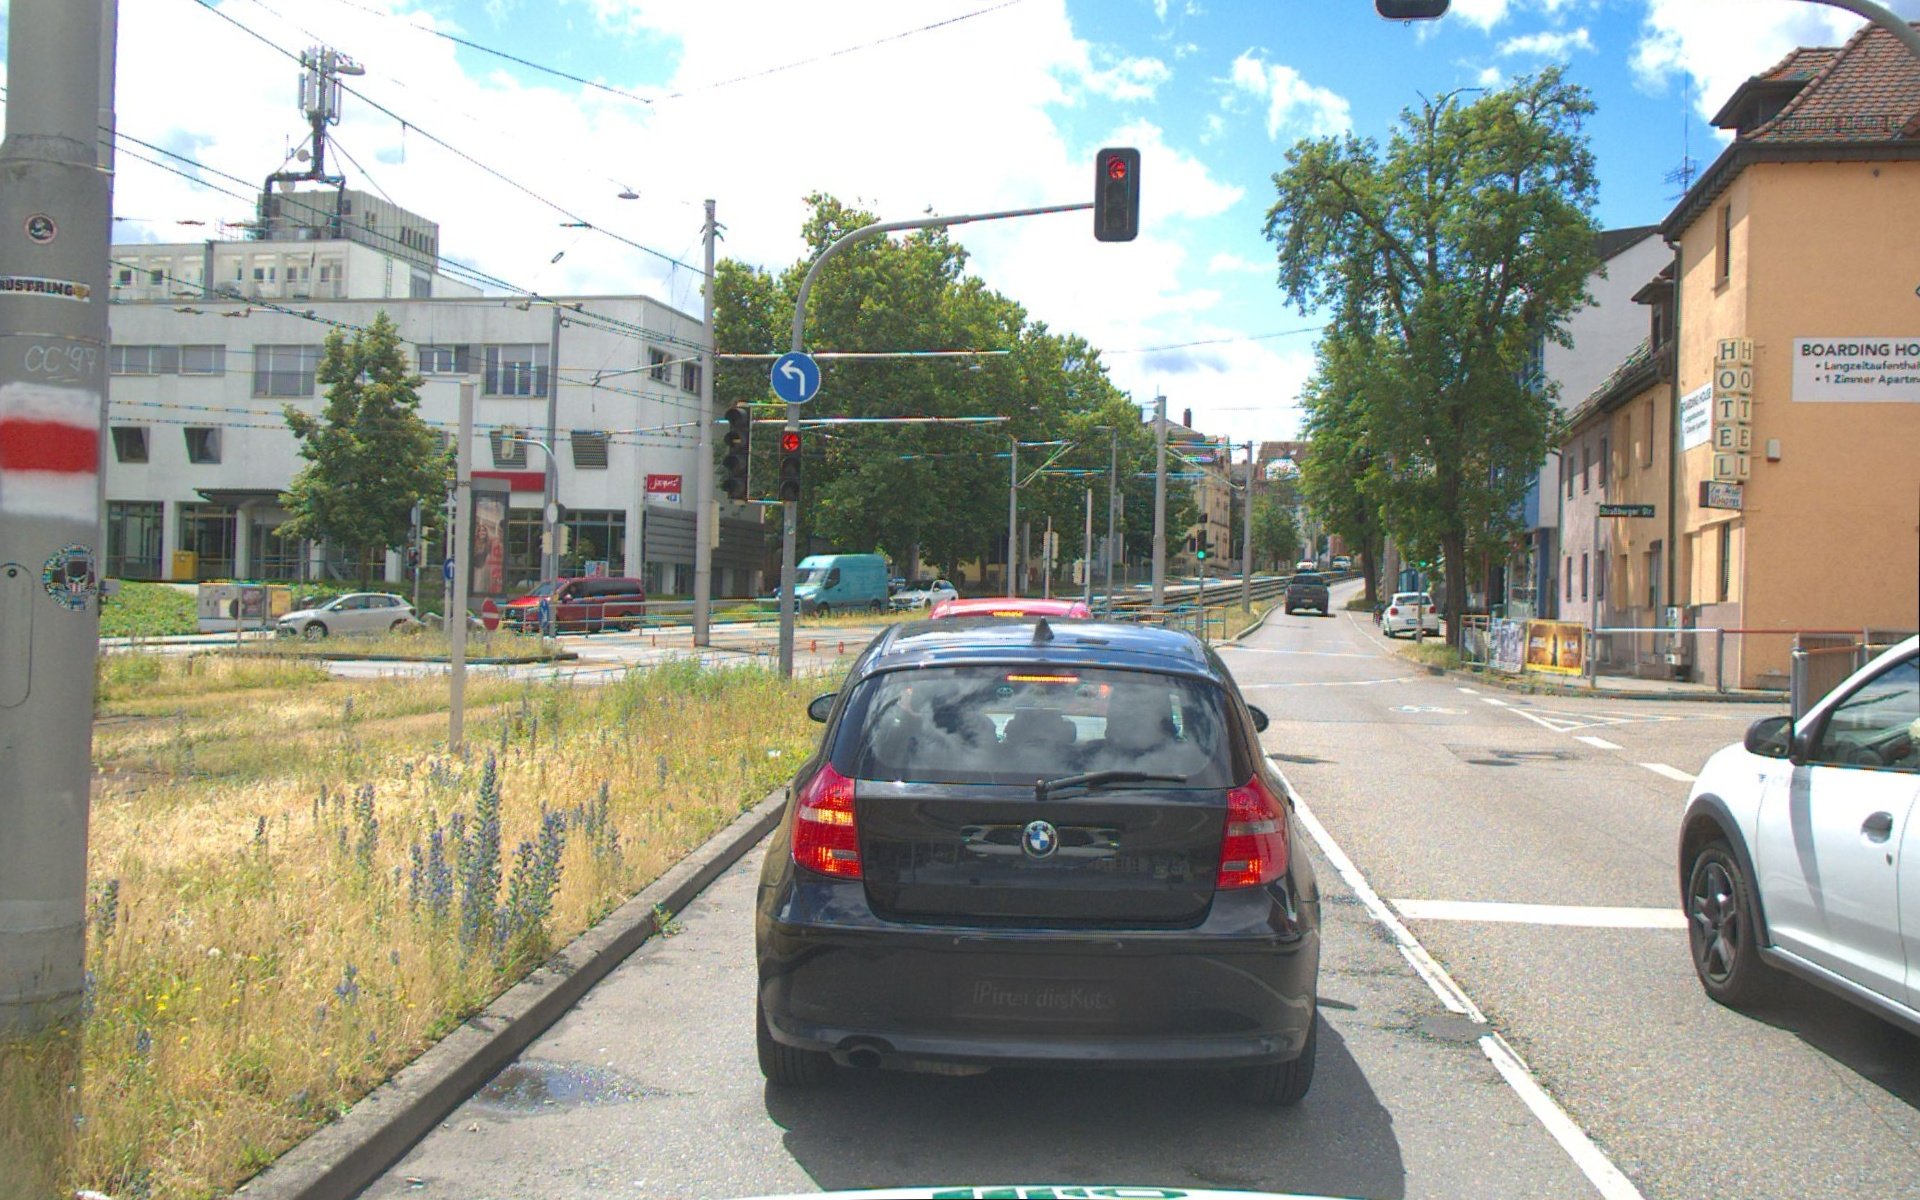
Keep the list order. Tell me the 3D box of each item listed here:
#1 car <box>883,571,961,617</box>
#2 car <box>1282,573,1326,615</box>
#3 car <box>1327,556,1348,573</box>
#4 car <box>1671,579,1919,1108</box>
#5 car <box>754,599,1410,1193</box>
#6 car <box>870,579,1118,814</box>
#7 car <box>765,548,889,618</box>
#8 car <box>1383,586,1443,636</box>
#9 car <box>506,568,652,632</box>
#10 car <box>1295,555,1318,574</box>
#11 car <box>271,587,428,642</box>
[{"bbox_3d":[-1.636,-0.235,73.367,1.814,1.962,4.798,-1,-1,21],"label":"car"},{"bbox_3d":[16.211,-0.259,78.051,1.956,1.920,5.154,0,-1,12],"label":"car"},{"bbox_3d":[47.436,-4.453,207.818,1.952,2.049,4.000,-1,-1,21],"label":"car"},{"bbox_3d":[3.702,0.722,4.963,1.678,1.577,3.795,0,0,3],"label":"car"},{"bbox_3d":[0.215,0.762,6.196,1.667,1.477,3.997,0,-1,-3],"label":"car"},{"bbox_3d":[0.403,0.642,12.630,1.590,1.499,4.002,0,-1,6],"label":"car"},{"bbox_3d":[-5.297,-0.644,66.790,2.091,2.701,5.678,-1,-1,31],"label":"car"},{"bbox_3d":[15.325,0.377,56.110,1.749,1.624,4.003,0,-1,12],"label":"car"},{"bbox_3d":[-12.732,0.026,55.526,1.822,2.044,4.777,-1,-1,37],"label":"car"},{"bbox_3d":[39.432,-4.035,188.392,1.952,2.049,4.000,-1,-1,21],"label":"car"},{"bbox_3d":[-18.419,0.435,49.998,4.128,1.613,1.833,0,-1,-39],"label":"car"}]
